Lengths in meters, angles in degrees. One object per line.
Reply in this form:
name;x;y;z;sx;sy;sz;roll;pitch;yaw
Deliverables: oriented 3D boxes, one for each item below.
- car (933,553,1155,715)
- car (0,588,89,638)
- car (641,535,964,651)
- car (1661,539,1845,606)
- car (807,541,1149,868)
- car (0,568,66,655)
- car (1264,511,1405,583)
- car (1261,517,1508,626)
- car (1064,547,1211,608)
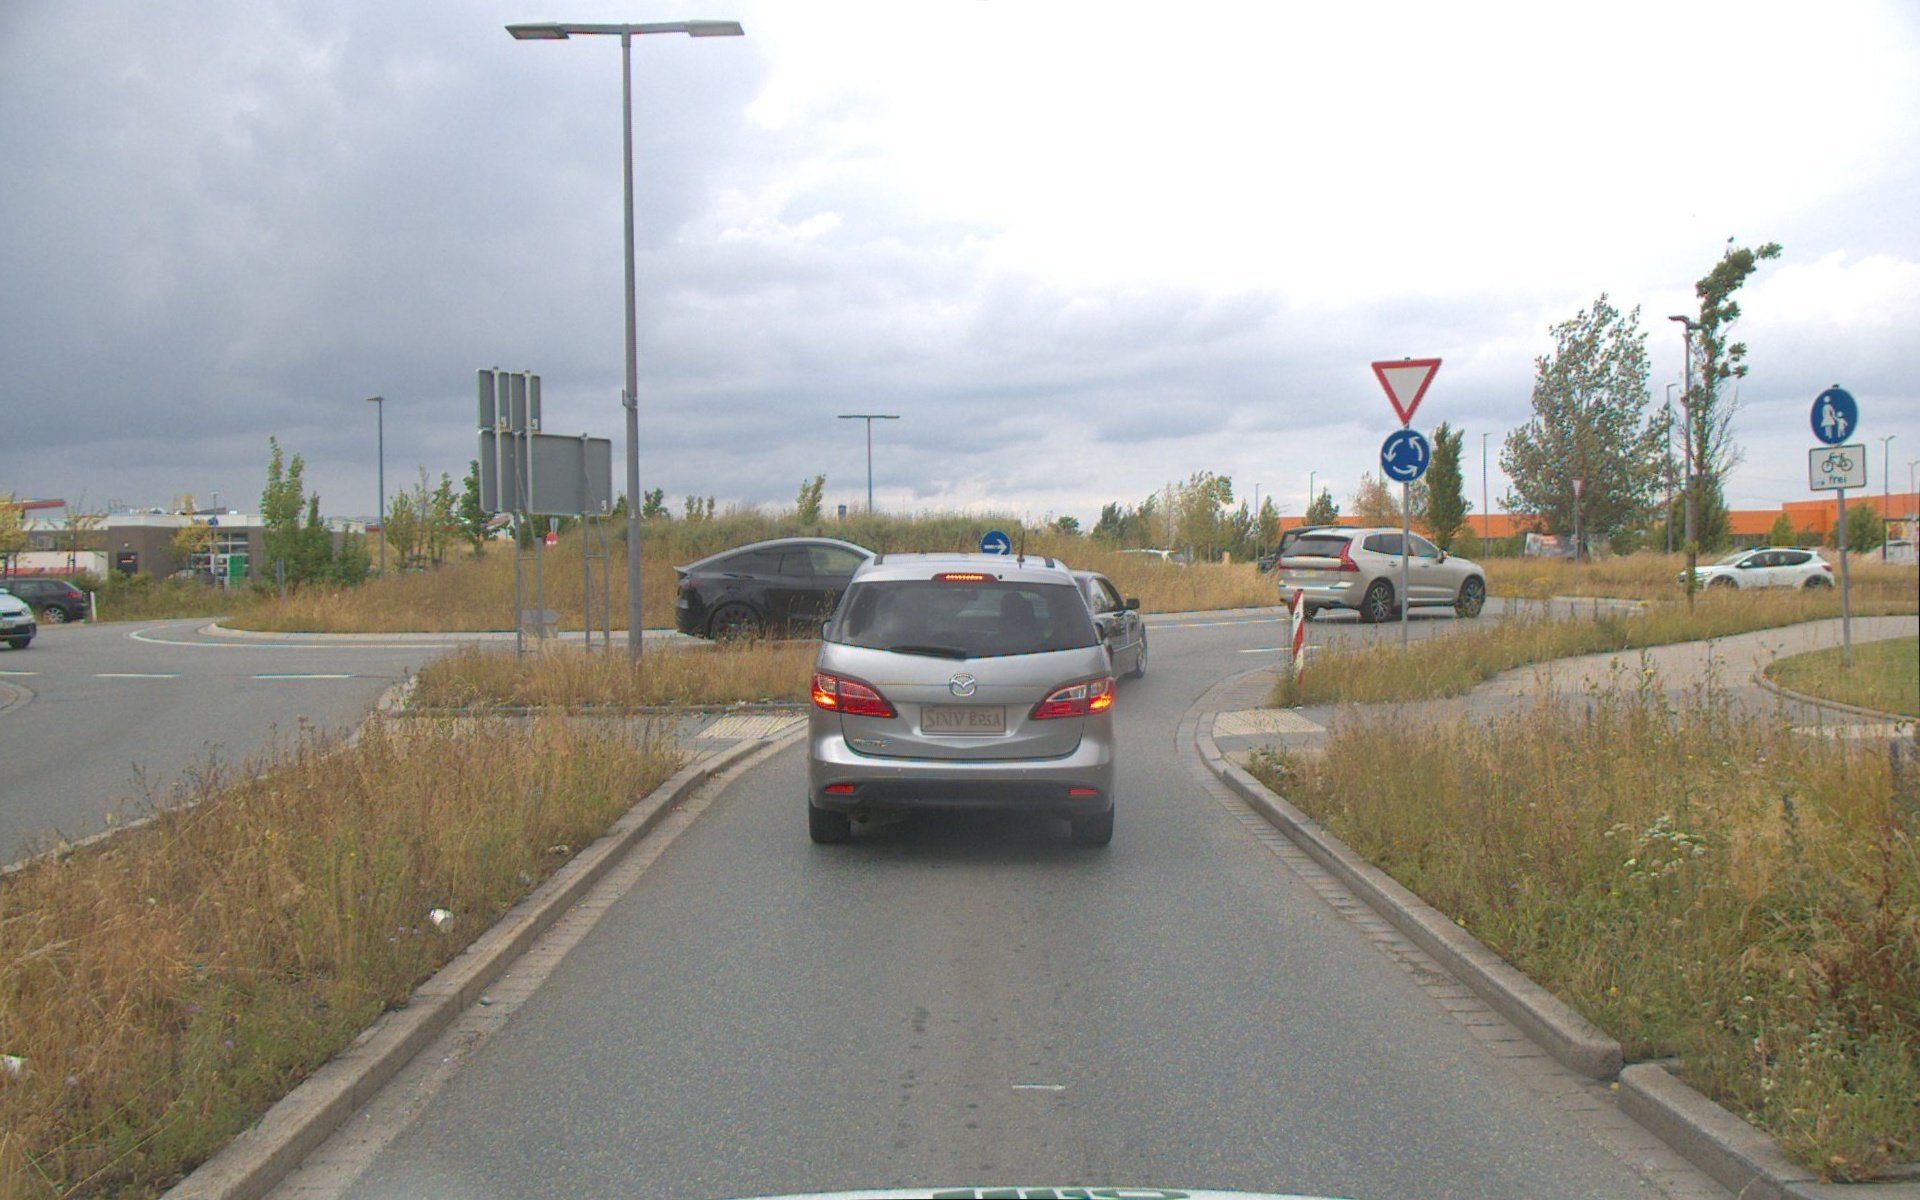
car;1.039;0.271;18.178;1.701;1.427;4.002;1;4;14
car;-26.484;0.355;46.199;3.791;1.348;1.457;-1;0;-28
car;-2.371;-0.154;25.149;4.668;1.524;1.942;-2;3;-7
car;22.146;-0.789;46.305;4.236;1.676;1.871;-1;3;2
car;0.069;0.471;10.338;1.702;1.626;3.998;1;2;-1
car;-18.473;0.247;30.179;3.908;1.489;1.813;-1;2;26
car;10.792;-1.574;48.075;2.043;1.919;4.757;-2;3;-15
car;7.901;-0.588;30.582;4.724;1.768;1.919;-4;4;-37
car;5.917;-0.788;55.565;2.068;1.919;4.700;-4;4;-43
